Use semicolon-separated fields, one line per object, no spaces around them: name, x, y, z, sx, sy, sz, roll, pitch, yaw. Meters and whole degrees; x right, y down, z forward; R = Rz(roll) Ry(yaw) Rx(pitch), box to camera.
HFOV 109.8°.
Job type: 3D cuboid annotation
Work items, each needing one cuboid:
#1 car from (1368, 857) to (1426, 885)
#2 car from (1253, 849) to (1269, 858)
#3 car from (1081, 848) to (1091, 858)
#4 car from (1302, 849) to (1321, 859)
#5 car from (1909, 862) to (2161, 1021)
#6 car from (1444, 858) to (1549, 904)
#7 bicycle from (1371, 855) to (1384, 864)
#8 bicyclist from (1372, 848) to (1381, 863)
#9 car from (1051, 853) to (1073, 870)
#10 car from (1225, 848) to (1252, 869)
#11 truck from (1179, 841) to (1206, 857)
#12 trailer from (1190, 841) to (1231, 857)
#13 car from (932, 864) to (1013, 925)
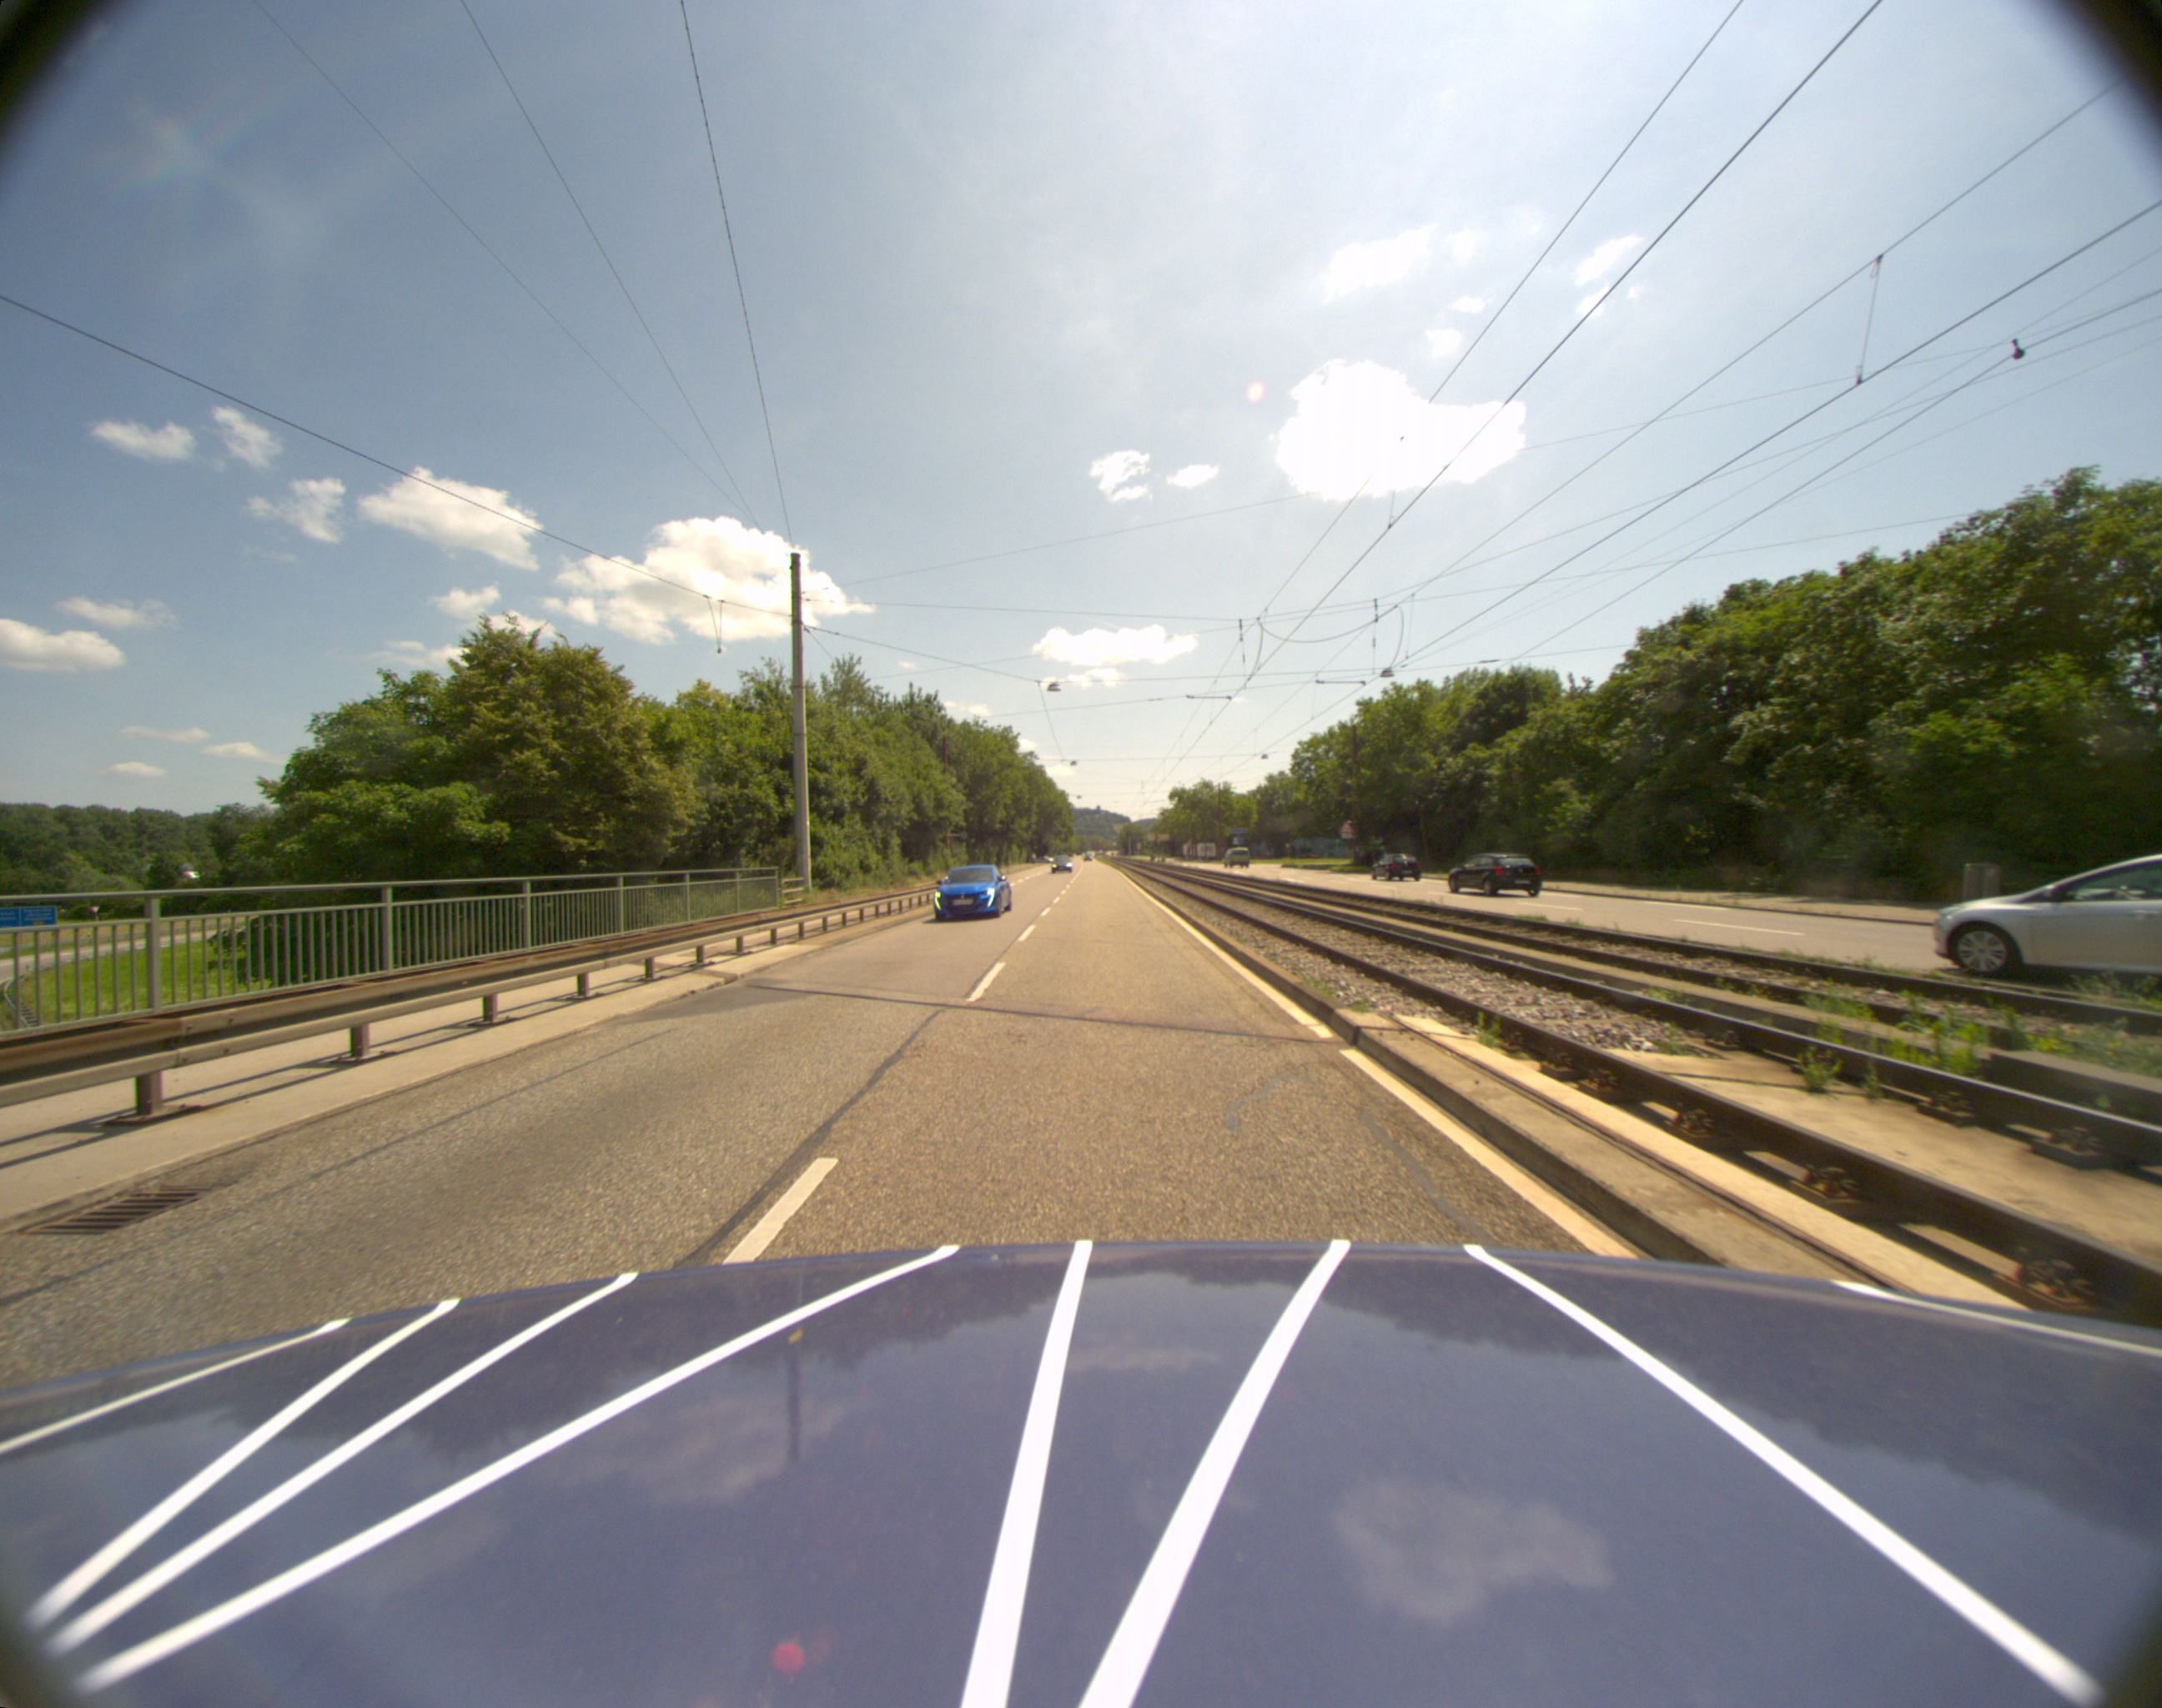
car;16.816;0.869;40.644;1.567;1.339;3.928;0;1;2
car;36.922;-0.112;155.847;1.567;1.781;3.392;-1;0;-25
car;1.034;-0.168;161.335;1.998;2.002;3.999;-2;1;0
car;43.163;0.043;142.335;1.567;1.781;3.392;-1;0;-25
car;10.844;0.835;6.881;1.715;1.412;4.624;0;1;2
car;14.275;0.878;26.354;1.578;1.392;3.937;-1;1;1
bicycle;27.747;0.516;71.177;0.587;0.814;2.069;-3;1;7
bicyclist;27.735;0.126;71.237;0.570;1.360;0.631;-3;2;5
car;-1.634;0.661;68.022;1.769;1.359;3.743;-2;1;1
car;15.589;0.400;75.429;1.816;1.914;5.178;0;1;2
truck;26.729;-1.095;181.777;3.422;3.680;6.747;-1;0;-21
trailer;29.616;-1.049;174.697;3.392;3.633;12.086;-1;0;-22
car;-2.933;1.056;21.329;1.660;1.397;3.743;-2;1;0
